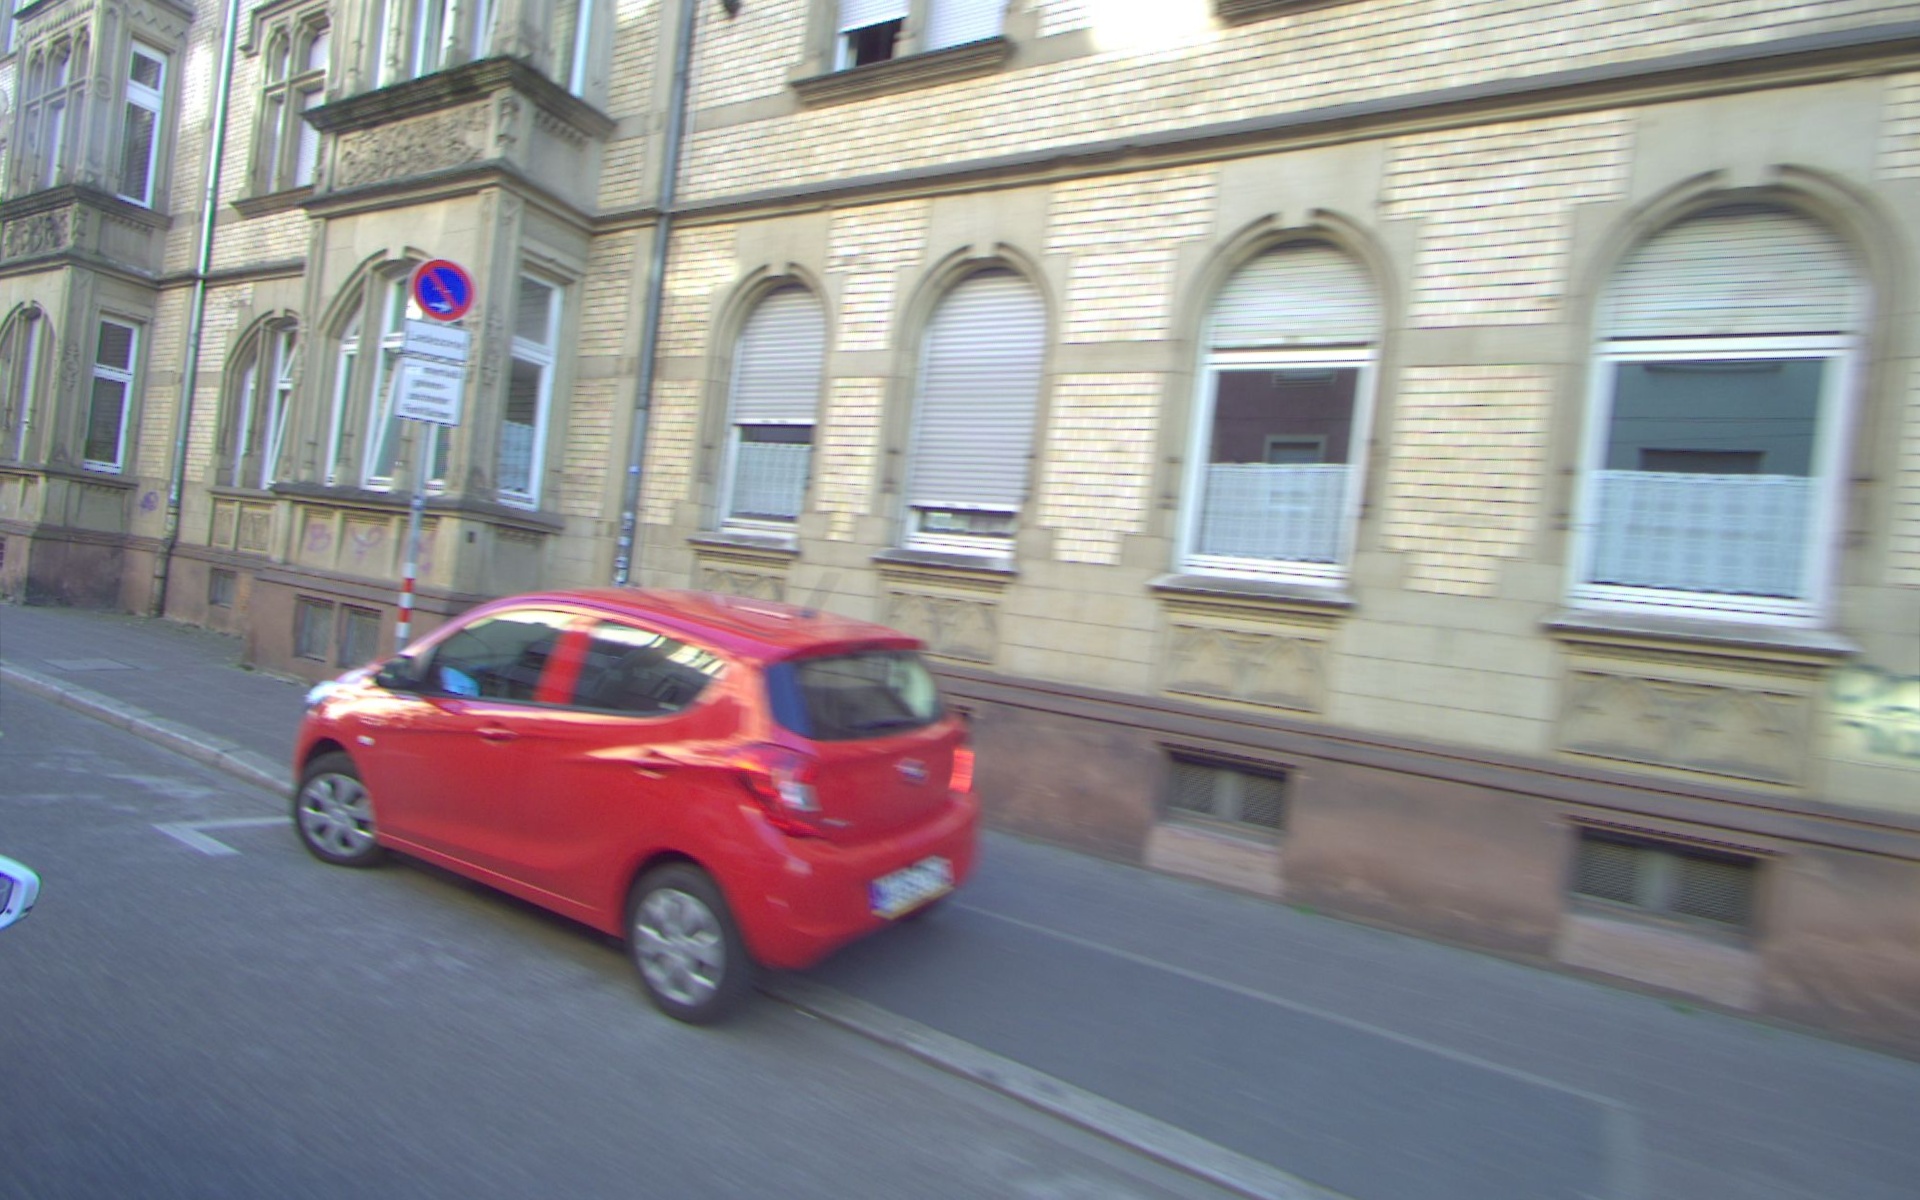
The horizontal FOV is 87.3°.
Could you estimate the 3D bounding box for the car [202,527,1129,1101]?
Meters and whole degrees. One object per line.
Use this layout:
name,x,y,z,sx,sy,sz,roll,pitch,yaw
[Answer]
car,-1.609,0.601,4.947,4.327,1.502,1.866,6,2,31
